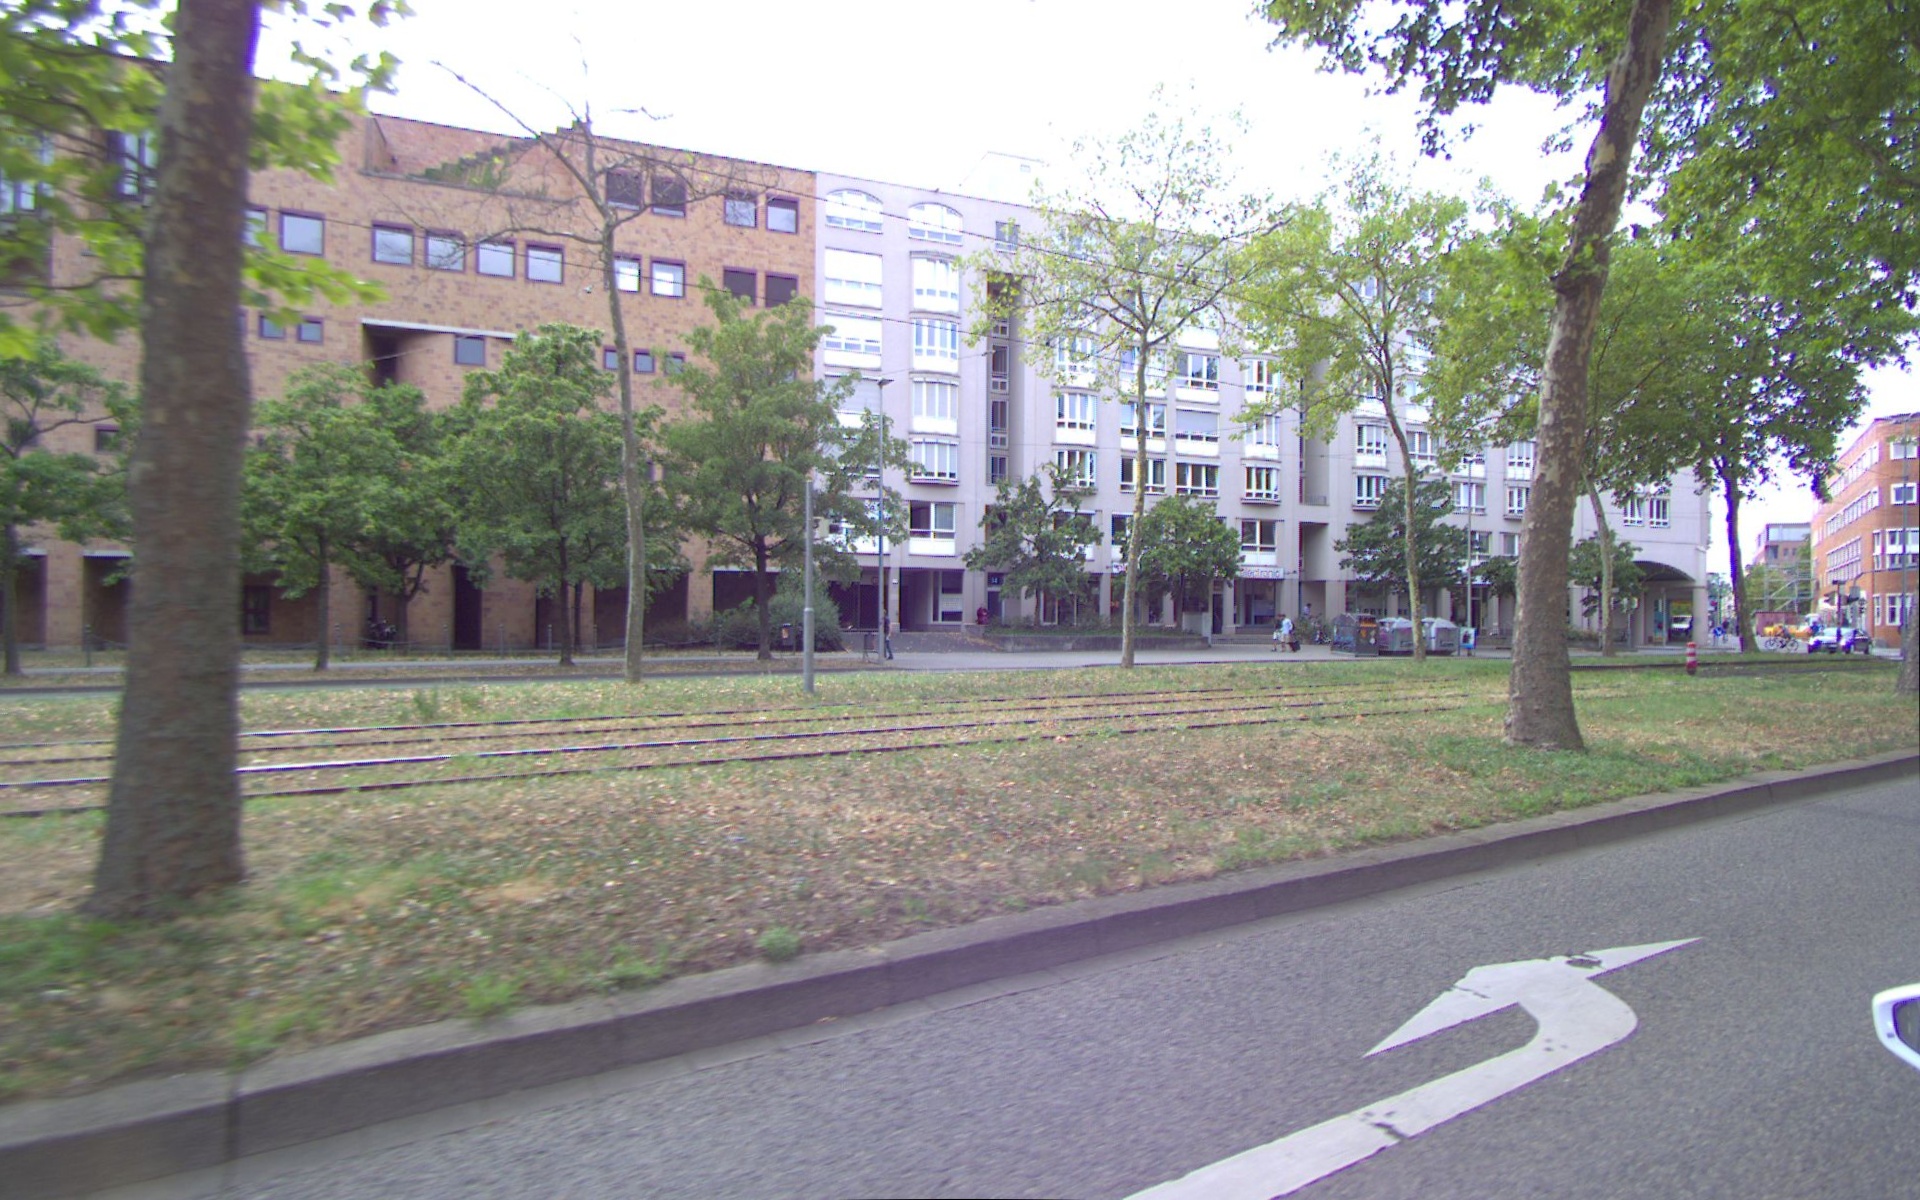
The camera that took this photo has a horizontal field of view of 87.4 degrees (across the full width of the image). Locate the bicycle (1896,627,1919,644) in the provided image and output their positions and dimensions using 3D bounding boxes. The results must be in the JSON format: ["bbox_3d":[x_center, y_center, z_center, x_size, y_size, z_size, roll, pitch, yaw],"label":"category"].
[{"bbox_3d":[63.182,2.348,66.825,2.181,1.107,0.675,1,-1,-27],"label":"bicycle"}]

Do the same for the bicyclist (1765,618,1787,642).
[{"bbox_3d":[54.300,1.975,66.835,1.014,1.583,0.582,0,-1,22],"label":"bicyclist"}]

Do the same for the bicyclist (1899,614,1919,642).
[{"bbox_3d":[63.195,1.845,66.837,1.067,1.872,0.664,0,-1,-27],"label":"bicyclist"}]

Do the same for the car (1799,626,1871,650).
[{"bbox_3d":[46.920,2.013,53.823,4.485,1.261,1.720,1,-1,-33],"label":"car"}]

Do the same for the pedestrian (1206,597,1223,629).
[{"bbox_3d":[13.699,0.699,54.077,0.650,1.694,0.635,1,-1,-22],"label":"pedestrian"}]

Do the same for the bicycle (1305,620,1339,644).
[{"bbox_3d":[18.610,1.633,51.627,1.814,1.228,0.532,0,-1,-25],"label":"bicycle"}]

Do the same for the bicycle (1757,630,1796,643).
[{"bbox_3d":[54.313,2.423,66.826,1.949,0.847,0.579,0,-1,22],"label":"bicycle"}]

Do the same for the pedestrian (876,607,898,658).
[{"bbox_3d":[-2.519,1.119,34.638,0.618,1.728,0.550,0,-1,-27],"label":"pedestrian"}]

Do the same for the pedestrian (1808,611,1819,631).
[{"bbox_3d":[78.242,1.939,92.095,0.682,1.841,0.654,0,-1,32],"label":"pedestrian"}]

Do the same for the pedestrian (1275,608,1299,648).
[{"bbox_3d":[14.403,1.230,44.193,0.873,1.728,0.550,0,-1,-27],"label":"pedestrian"}]

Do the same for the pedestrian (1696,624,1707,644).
[{"bbox_3d":[76.672,3.558,103.844,0.851,2.040,1.340,0,-1,34],"label":"pedestrian"}]

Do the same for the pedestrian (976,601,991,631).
[{"bbox_3d":[1.081,0.739,46.180,0.546,1.340,0.456,0,-1,-20],"label":"pedestrian"}]

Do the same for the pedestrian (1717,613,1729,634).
[{"bbox_3d":[61.329,1.903,80.749,0.663,1.702,0.751,0,-1,31],"label":"pedestrian"}]

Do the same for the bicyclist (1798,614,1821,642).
[{"bbox_3d":[50.752,1.659,60.003,0.940,1.695,0.688,1,-1,-24],"label":"bicyclist"}]

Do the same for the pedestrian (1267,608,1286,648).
[{"bbox_3d":[14.057,1.241,44.646,0.618,1.728,0.550,0,-1,-27],"label":"pedestrian"}]

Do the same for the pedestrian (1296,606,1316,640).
[{"bbox_3d":[18.463,1.234,53.638,0.682,1.833,0.768,1,-1,-22],"label":"pedestrian"}]

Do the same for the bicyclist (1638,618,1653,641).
[{"bbox_3d":[49.611,2.132,72.705,0.770,1.695,0.573,0,-1,23],"label":"bicyclist"}]

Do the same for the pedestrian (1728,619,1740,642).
[{"bbox_3d":[68.355,2.675,88.749,0.779,1.990,0.803,0,-1,34],"label":"pedestrian"}]

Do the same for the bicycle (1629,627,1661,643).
[{"bbox_3d":[49.581,2.540,72.713,1.841,1.106,0.578,0,-1,22],"label":"bicycle"}]

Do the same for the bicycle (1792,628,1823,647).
[{"bbox_3d":[50.560,2.239,59.916,1.851,1.106,0.689,1,-1,-24],"label":"bicycle"}]

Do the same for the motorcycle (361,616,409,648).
[{"bbox_3d":[-22.133,1.223,38.628,2.161,1.207,0.794,0,-1,36],"label":"motorcycle"}]
